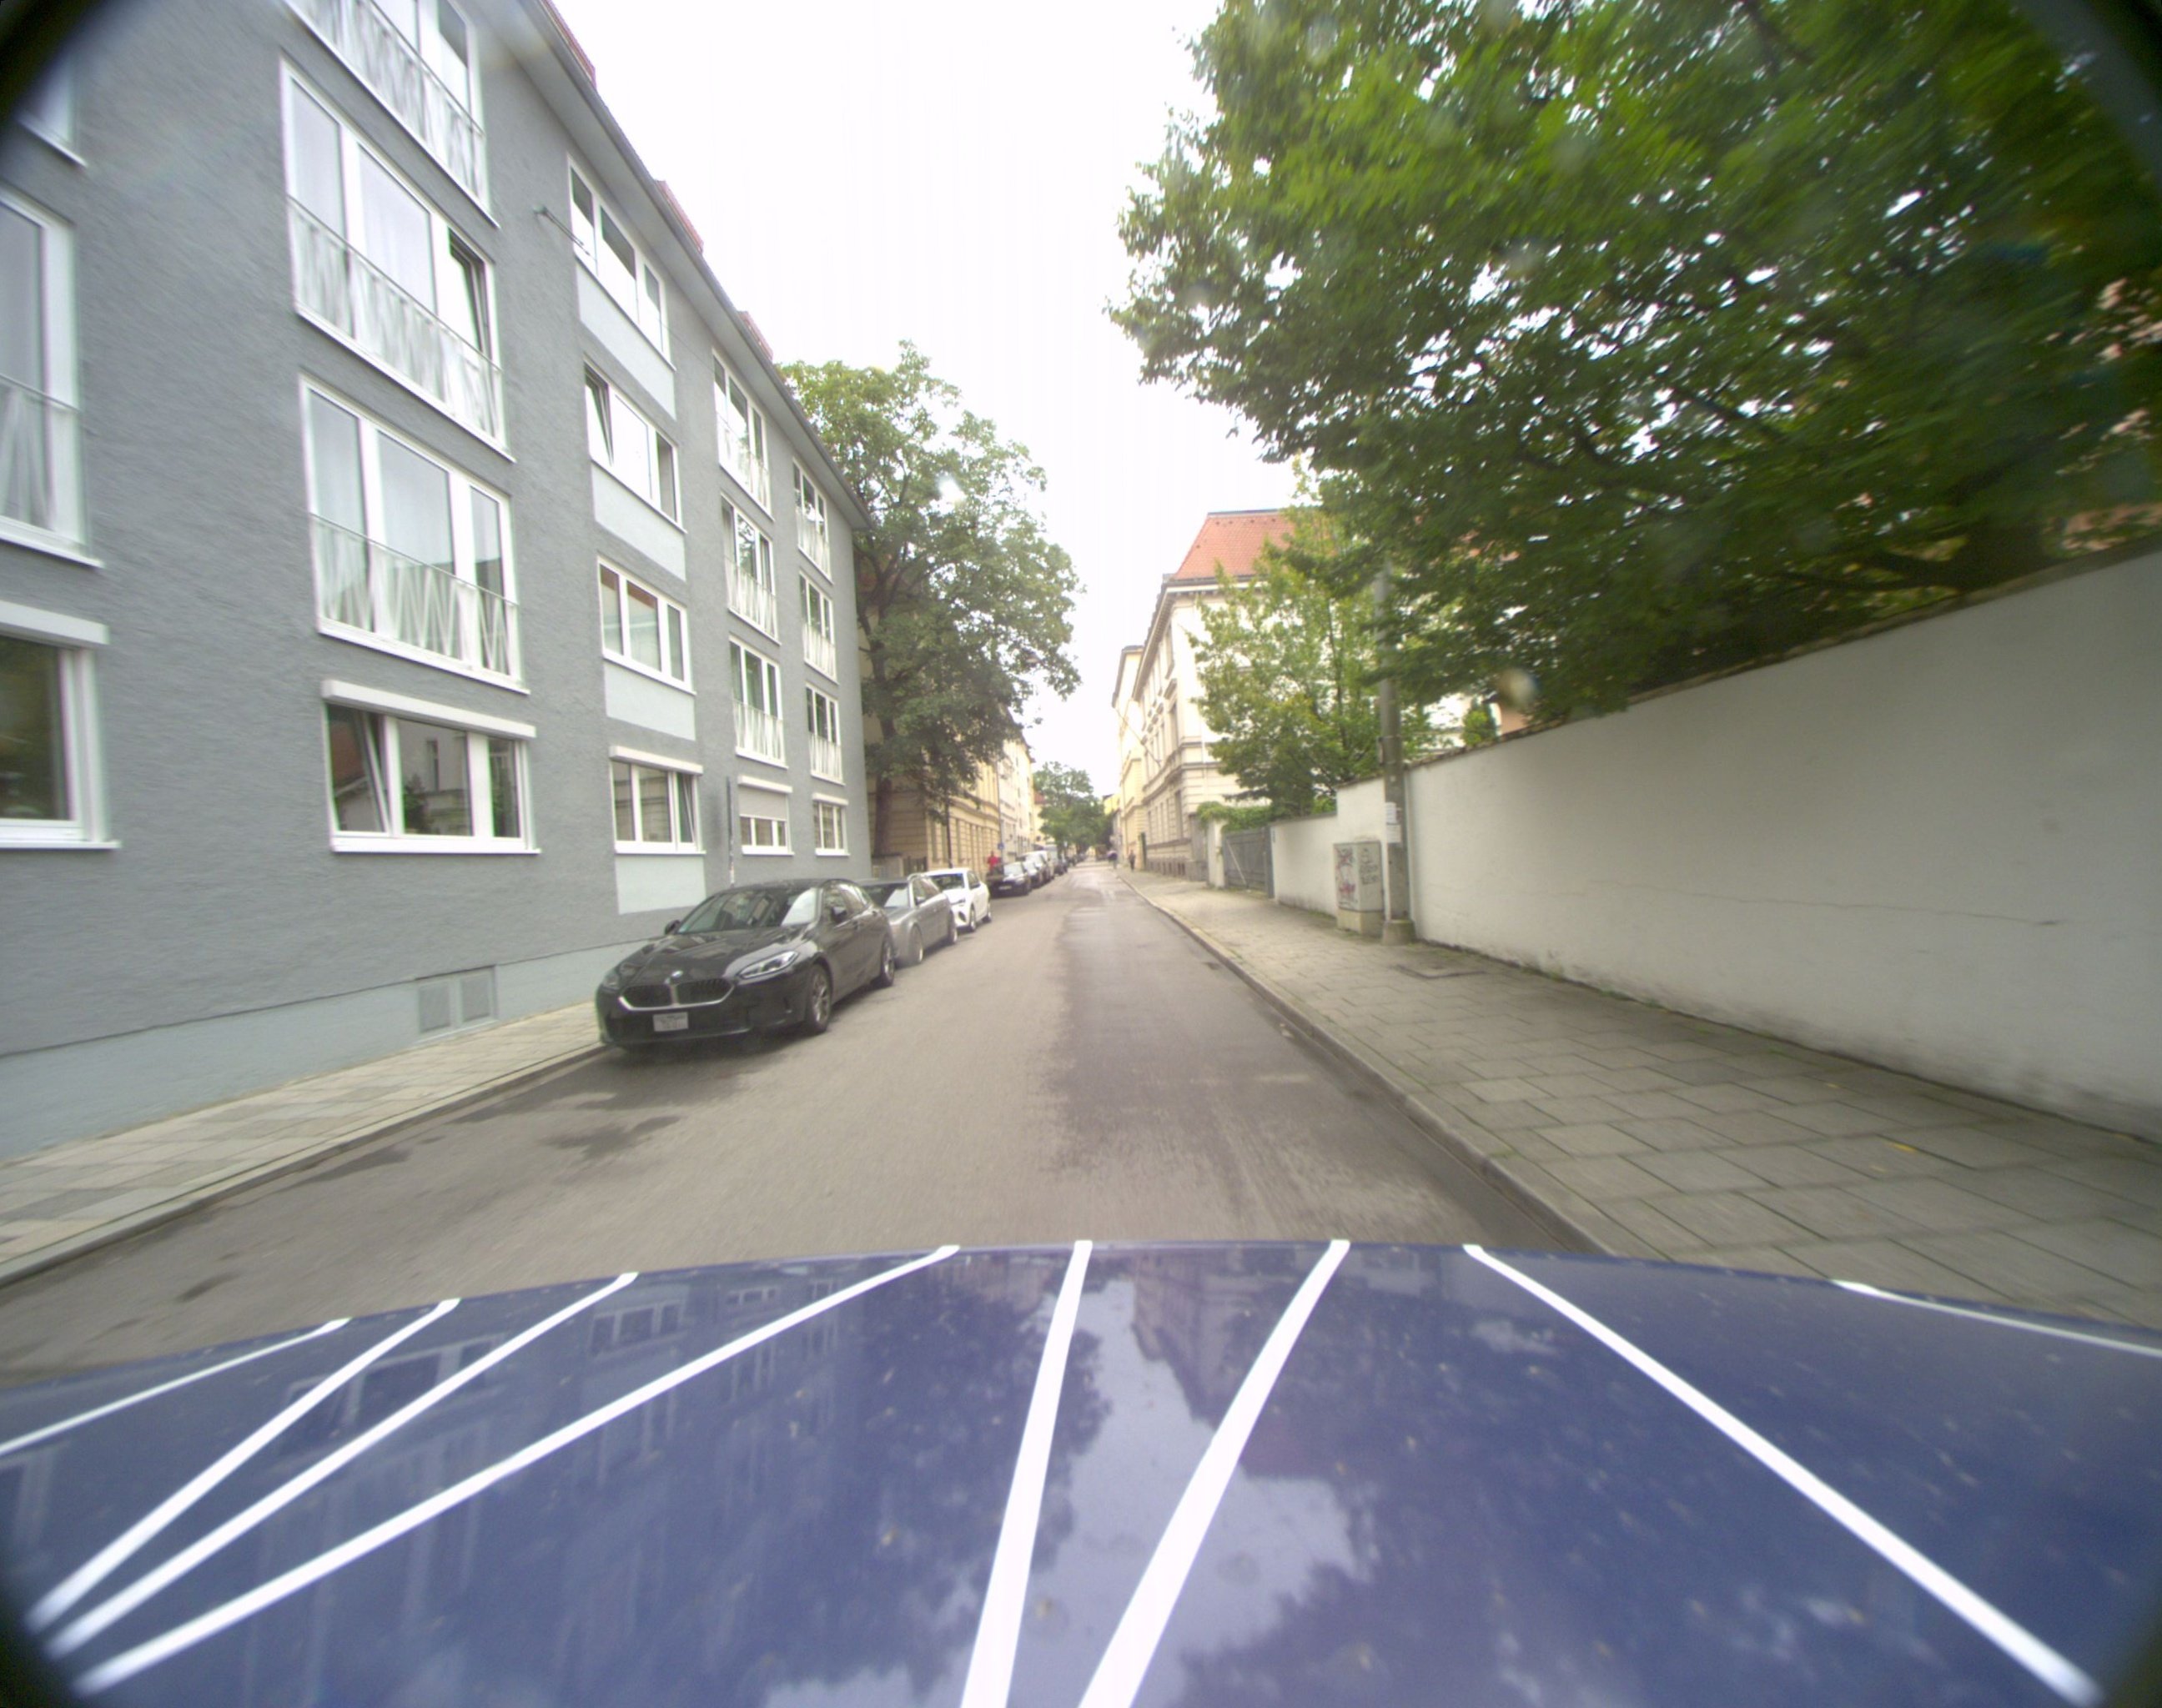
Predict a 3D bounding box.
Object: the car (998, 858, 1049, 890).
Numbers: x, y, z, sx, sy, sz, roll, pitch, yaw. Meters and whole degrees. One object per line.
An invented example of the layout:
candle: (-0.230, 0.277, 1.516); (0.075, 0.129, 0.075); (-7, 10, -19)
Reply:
car: (-2.790, 0.952, 37.843); (1.998, 1.306, 4.593); (-3, 0, 2)

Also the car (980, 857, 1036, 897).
car: (-3.051, 0.931, 32.627); (1.860, 1.366, 4.509); (-6, 1, 0)

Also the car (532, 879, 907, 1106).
car: (-3.322, 1.156, 8.100); (1.846, 1.420, 4.263); (-7, 0, -1)

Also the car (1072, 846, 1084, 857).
car: (-0.554, -0.537, 159.776); (2.014, 1.969, 5.090); (-7, 0, 2)

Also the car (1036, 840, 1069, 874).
car: (-2.282, 0.219, 62.272); (2.014, 2.479, 5.090); (-7, 0, 2)

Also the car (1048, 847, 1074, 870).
car: (-1.934, 0.384, 75.690); (2.014, 1.989, 5.090); (-7, 0, 2)

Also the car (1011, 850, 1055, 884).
car: (-2.668, 0.690, 43.153); (1.998, 1.677, 4.510); (-3, 0, 2)

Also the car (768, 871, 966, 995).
car: (-3.354, 1.171, 12.930); (1.794, 1.393, 4.485); (-7, 0, 2)

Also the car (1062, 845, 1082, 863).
car: (-1.232, -0.020, 105.296); (2.242, 2.247, 5.090); (-7, 0, 2)

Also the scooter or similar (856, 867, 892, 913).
scooter or similar: (-5.747, 0.976, 21.139); (0.506, 1.167, 1.376); (-3, 1, 2)

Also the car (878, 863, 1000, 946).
car: (-3.184, 1.087, 17.989); (1.773, 1.437, 4.344); (-7, 0, 2)

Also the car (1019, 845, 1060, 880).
car: (-2.636, 0.499, 49.172); (1.998, 2.002, 5.064); (-3, 0, 3)

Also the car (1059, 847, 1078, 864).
car: (-1.573, 0.230, 98.835); (2.014, 1.914, 5.090); (-7, 0, 2)

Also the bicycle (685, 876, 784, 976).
bicycle: (-5.907, 1.166, 13.110); (0.515, 1.478, 2.279); (-4, 1, 2)

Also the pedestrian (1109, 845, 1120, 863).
pedestrian: (3.223, -0.006, 72.469); (0.920, 1.742, 1.066); (-3, 1, 0)

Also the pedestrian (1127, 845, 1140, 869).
pedestrian: (3.865, 0.234, 55.984); (0.766, 1.742, 0.970); (-3, 1, 0)

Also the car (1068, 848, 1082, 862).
car: (-0.968, 0.159, 128.367); (2.014, 1.969, 5.090); (-7, 0, 2)

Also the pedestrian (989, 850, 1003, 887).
pedestrian: (-4.632, 0.780, 41.461); (0.581, 1.966, 0.455); (-4, 1, 1)

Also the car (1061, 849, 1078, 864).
car: (-1.701, 0.315, 113.270); (2.014, 1.969, 5.090); (-7, 0, 2)
